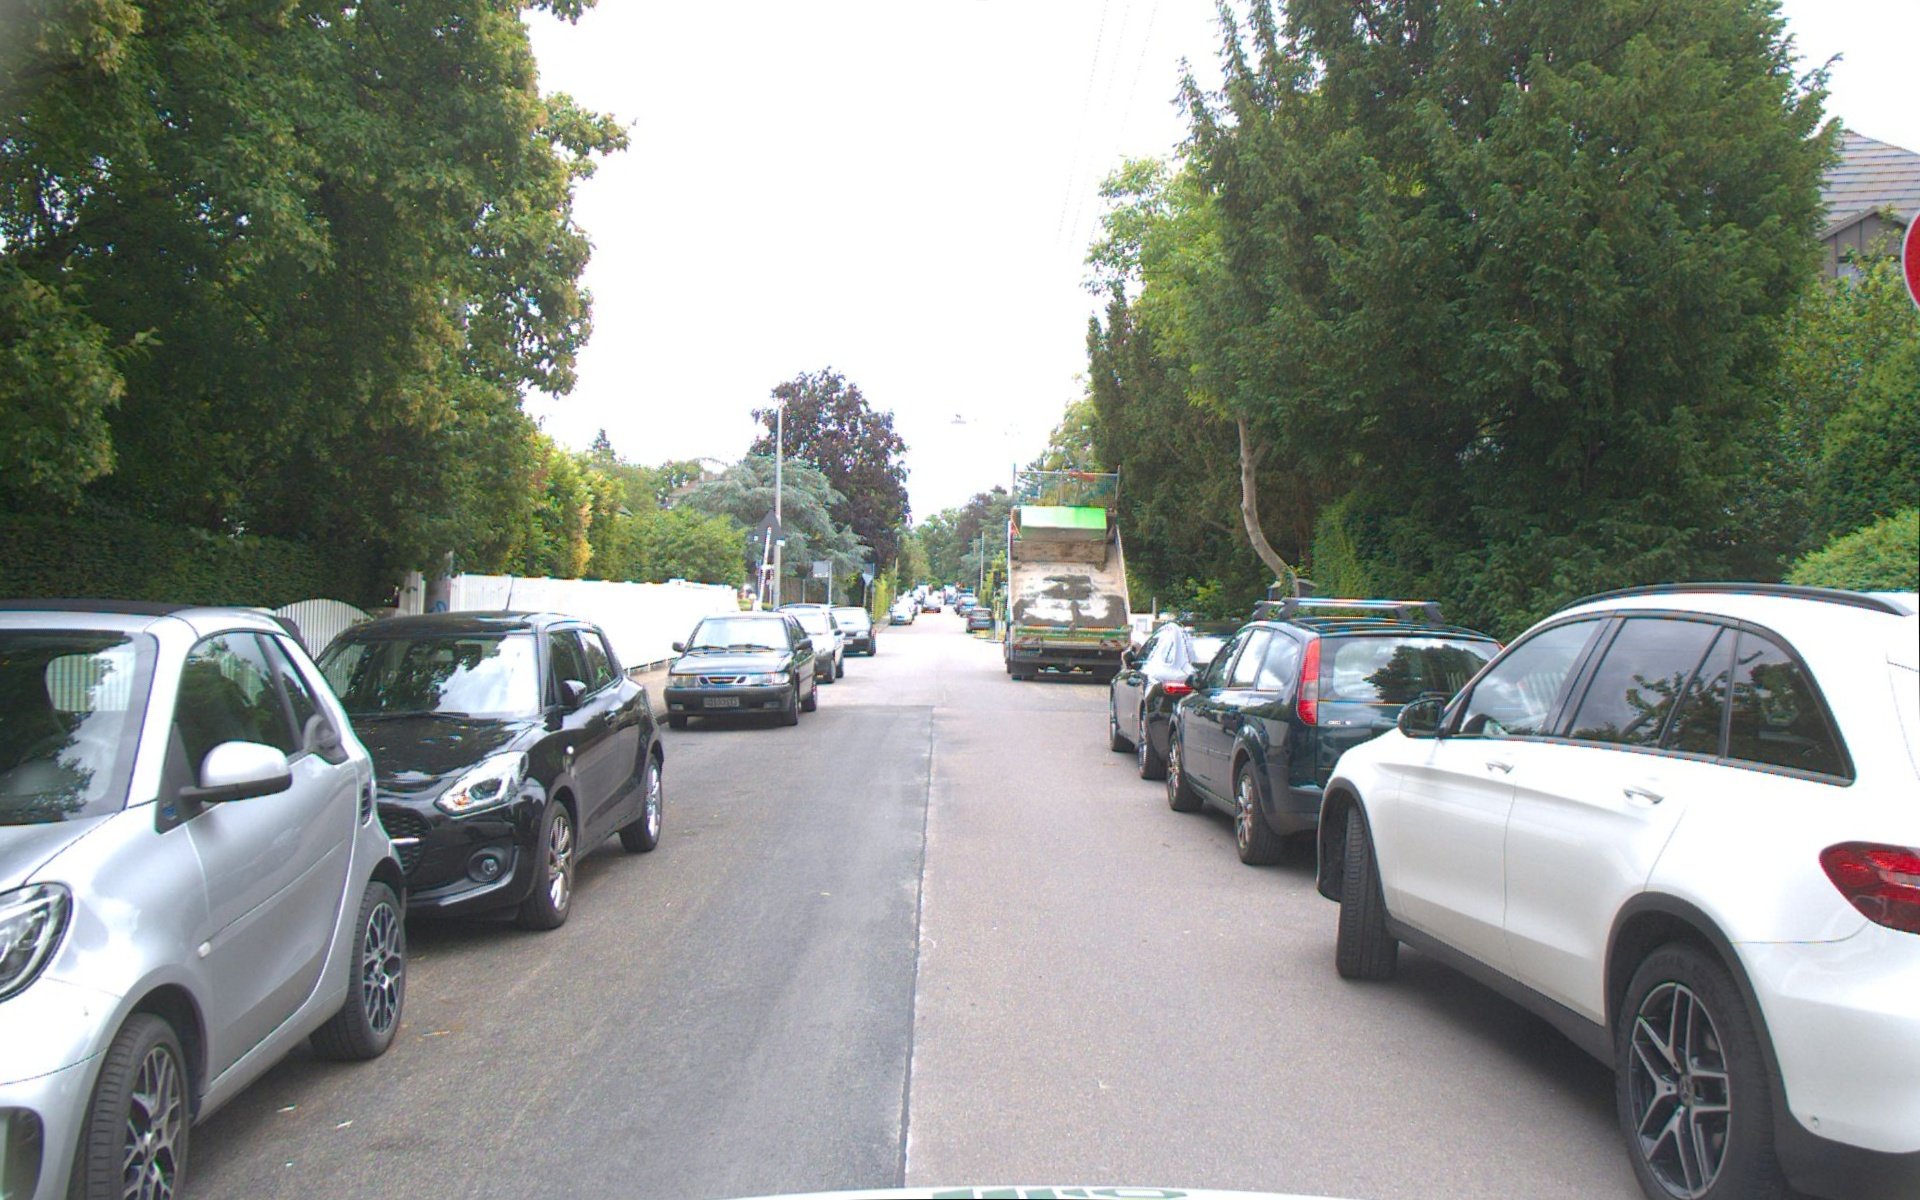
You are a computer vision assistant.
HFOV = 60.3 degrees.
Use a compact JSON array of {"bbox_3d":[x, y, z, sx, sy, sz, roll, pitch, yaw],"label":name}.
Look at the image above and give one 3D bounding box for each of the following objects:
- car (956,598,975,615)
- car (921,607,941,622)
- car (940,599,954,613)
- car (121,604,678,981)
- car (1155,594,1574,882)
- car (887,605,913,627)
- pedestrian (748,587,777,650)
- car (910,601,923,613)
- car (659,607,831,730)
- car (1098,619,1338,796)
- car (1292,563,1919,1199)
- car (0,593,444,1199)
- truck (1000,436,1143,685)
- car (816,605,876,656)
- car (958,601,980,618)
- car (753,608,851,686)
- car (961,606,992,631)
[{"bbox_3d":[0.527,0.646,158.632,1.753,1.556,3.734,1,0,1],"label":"car"},{"bbox_3d":[-2.846,1.404,164.293,1.692,1.432,3.805,1,0,3],"label":"car"},{"bbox_3d":[-1.645,0.753,209.548,1.601,1.731,3.493,2,0,-2],"label":"car"},{"bbox_3d":[-2.661,0.803,8.820,1.621,1.507,3.887,-2,0,0],"label":"car"},{"bbox_3d":[2.518,0.789,11.387,1.664,1.598,4.306,1,0,-2],"label":"car"},{"bbox_3d":[-4.524,1.237,125.730,1.676,1.613,4.001,1,0,2],"label":"car"},{"bbox_3d":[-6.565,0.612,54.988,0.835,2.049,0.700,3,-1,-6],"label":"pedestrian"},{"bbox_3d":[-5.630,0.934,214.162,1.594,1.410,3.597,3,0,-1],"label":"car"},{"bbox_3d":[-2.780,0.839,22.268,1.607,1.447,4.550,-1,0,1],"label":"car"},{"bbox_3d":[2.433,0.956,16.673,1.618,1.449,4.660,2,0,-1],"label":"car"},{"bbox_3d":[2.606,0.782,5.540,1.723,1.634,4.571,2,0,-4],"label":"car"},{"bbox_3d":[-2.654,0.784,4.701,1.590,1.560,2.960,-1,0,-4],"label":"car"},{"bbox_3d":[2.284,-0.766,36.239,2.473,4.831,7.186,2,0,0],"label":"truck"},{"bbox_3d":[-3.355,0.888,49.237,1.604,1.419,3.987,-1,0,-2],"label":"car"},{"bbox_3d":[0.799,0.827,149.352,1.774,1.359,3.631,3,1,-2],"label":"car"},{"bbox_3d":[-3.136,0.898,33.441,1.563,1.458,4.000,-1,0,0],"label":"car"},{"bbox_3d":[1.042,1.155,105.716,1.743,1.515,3.998,1,0,-2],"label":"car"}]
